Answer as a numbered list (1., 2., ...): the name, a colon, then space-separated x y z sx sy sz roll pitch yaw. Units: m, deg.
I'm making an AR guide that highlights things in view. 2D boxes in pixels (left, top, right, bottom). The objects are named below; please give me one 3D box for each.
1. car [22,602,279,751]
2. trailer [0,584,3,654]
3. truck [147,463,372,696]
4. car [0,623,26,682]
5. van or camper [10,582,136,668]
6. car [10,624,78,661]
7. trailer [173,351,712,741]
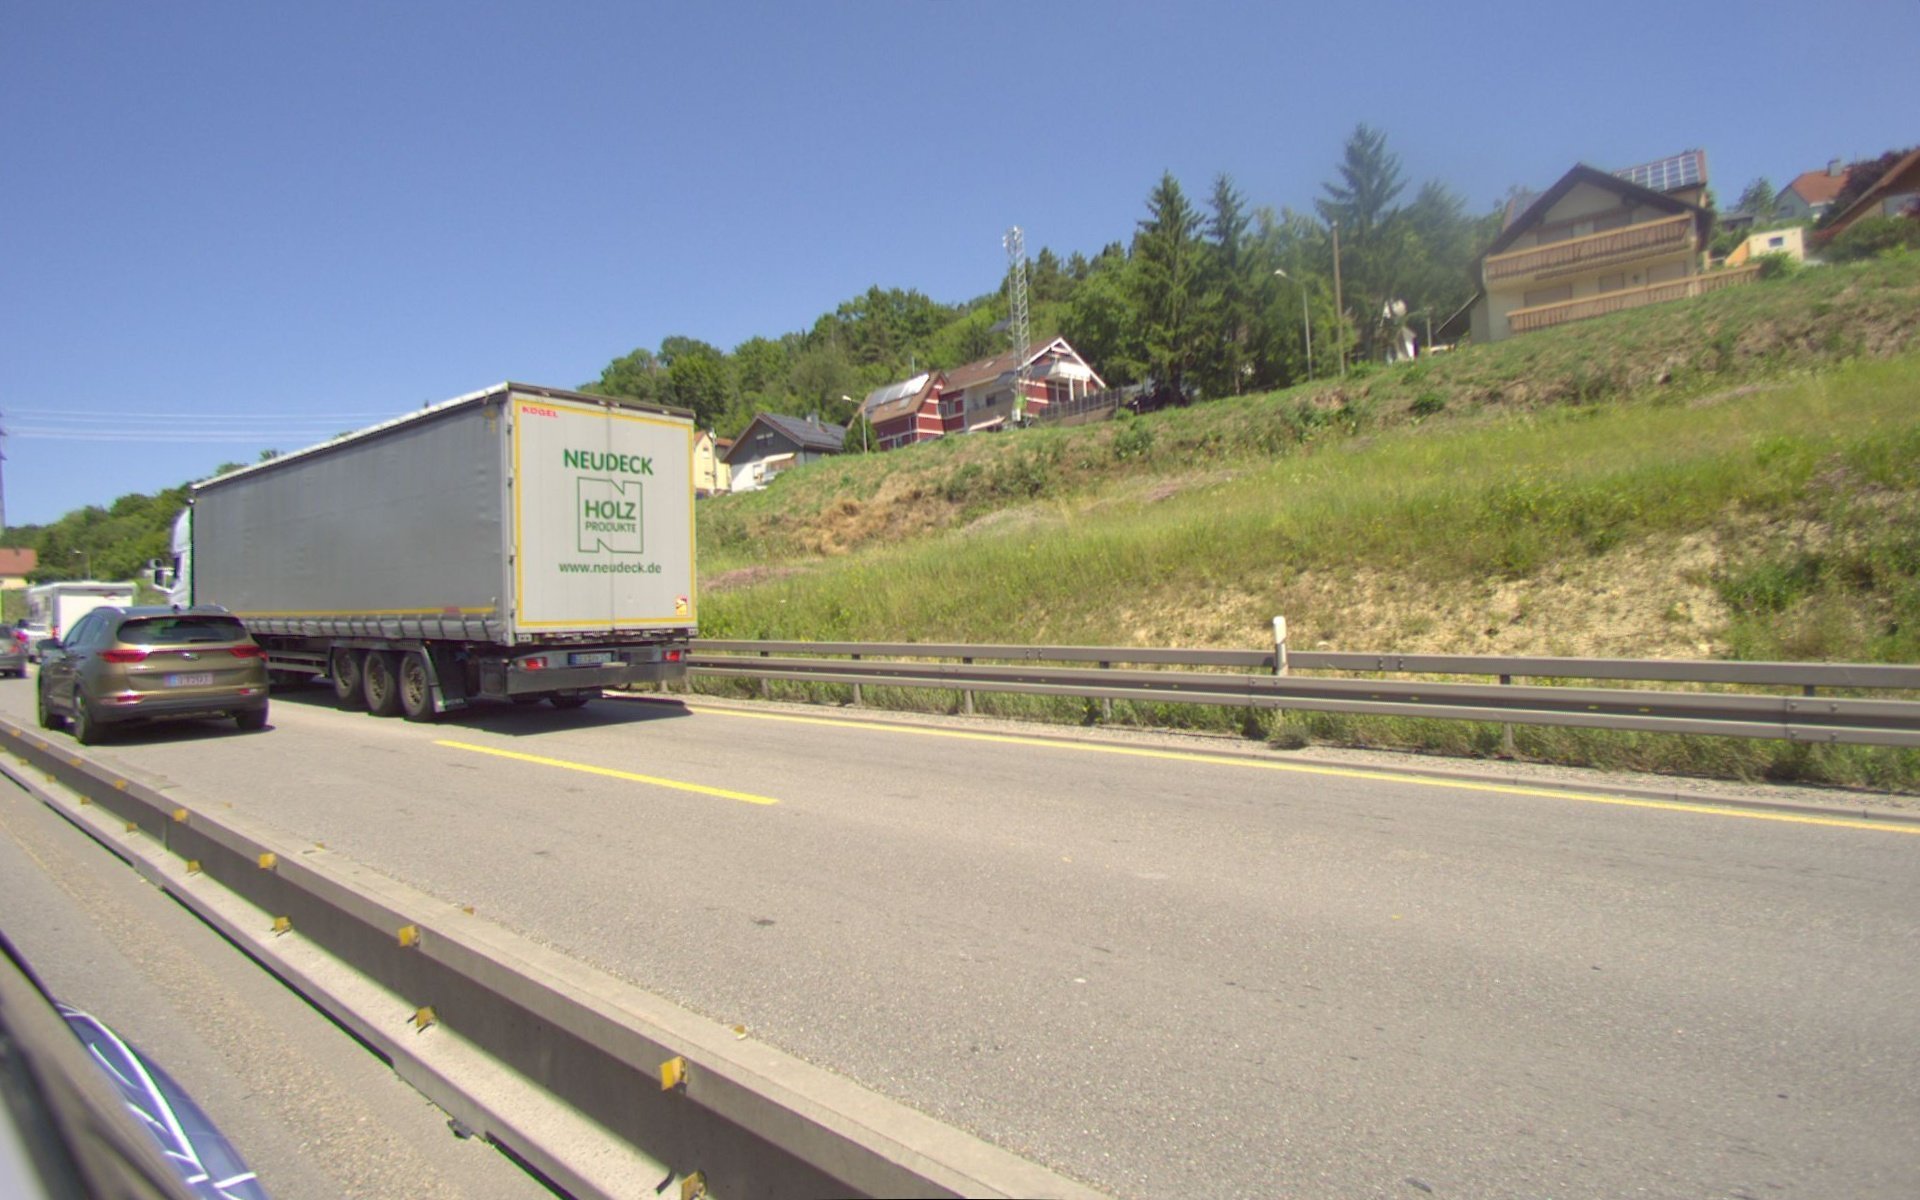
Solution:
1. car: -10.565 0.875 13.104 4.171 1.598 1.830 -1 0 40
2. trailer: -63.211 1.295 63.784 13.428 4.155 2.827 -2 -1 41
3. truck: -14.849 -0.359 21.371 4.673 4.319 2.746 -1 0 40
4. car: -25.803 1.376 26.472 3.377 1.490 1.612 -1 0 40
5. van or camper: -31.646 0.880 36.005 7.511 2.798 2.311 -2 -1 40
6. car: -41.088 1.881 45.363 4.261 1.563 1.699 -2 -1 40
7. trailer: -9.534 -0.485 16.826 14.024 4.319 2.782 -1 0 40
